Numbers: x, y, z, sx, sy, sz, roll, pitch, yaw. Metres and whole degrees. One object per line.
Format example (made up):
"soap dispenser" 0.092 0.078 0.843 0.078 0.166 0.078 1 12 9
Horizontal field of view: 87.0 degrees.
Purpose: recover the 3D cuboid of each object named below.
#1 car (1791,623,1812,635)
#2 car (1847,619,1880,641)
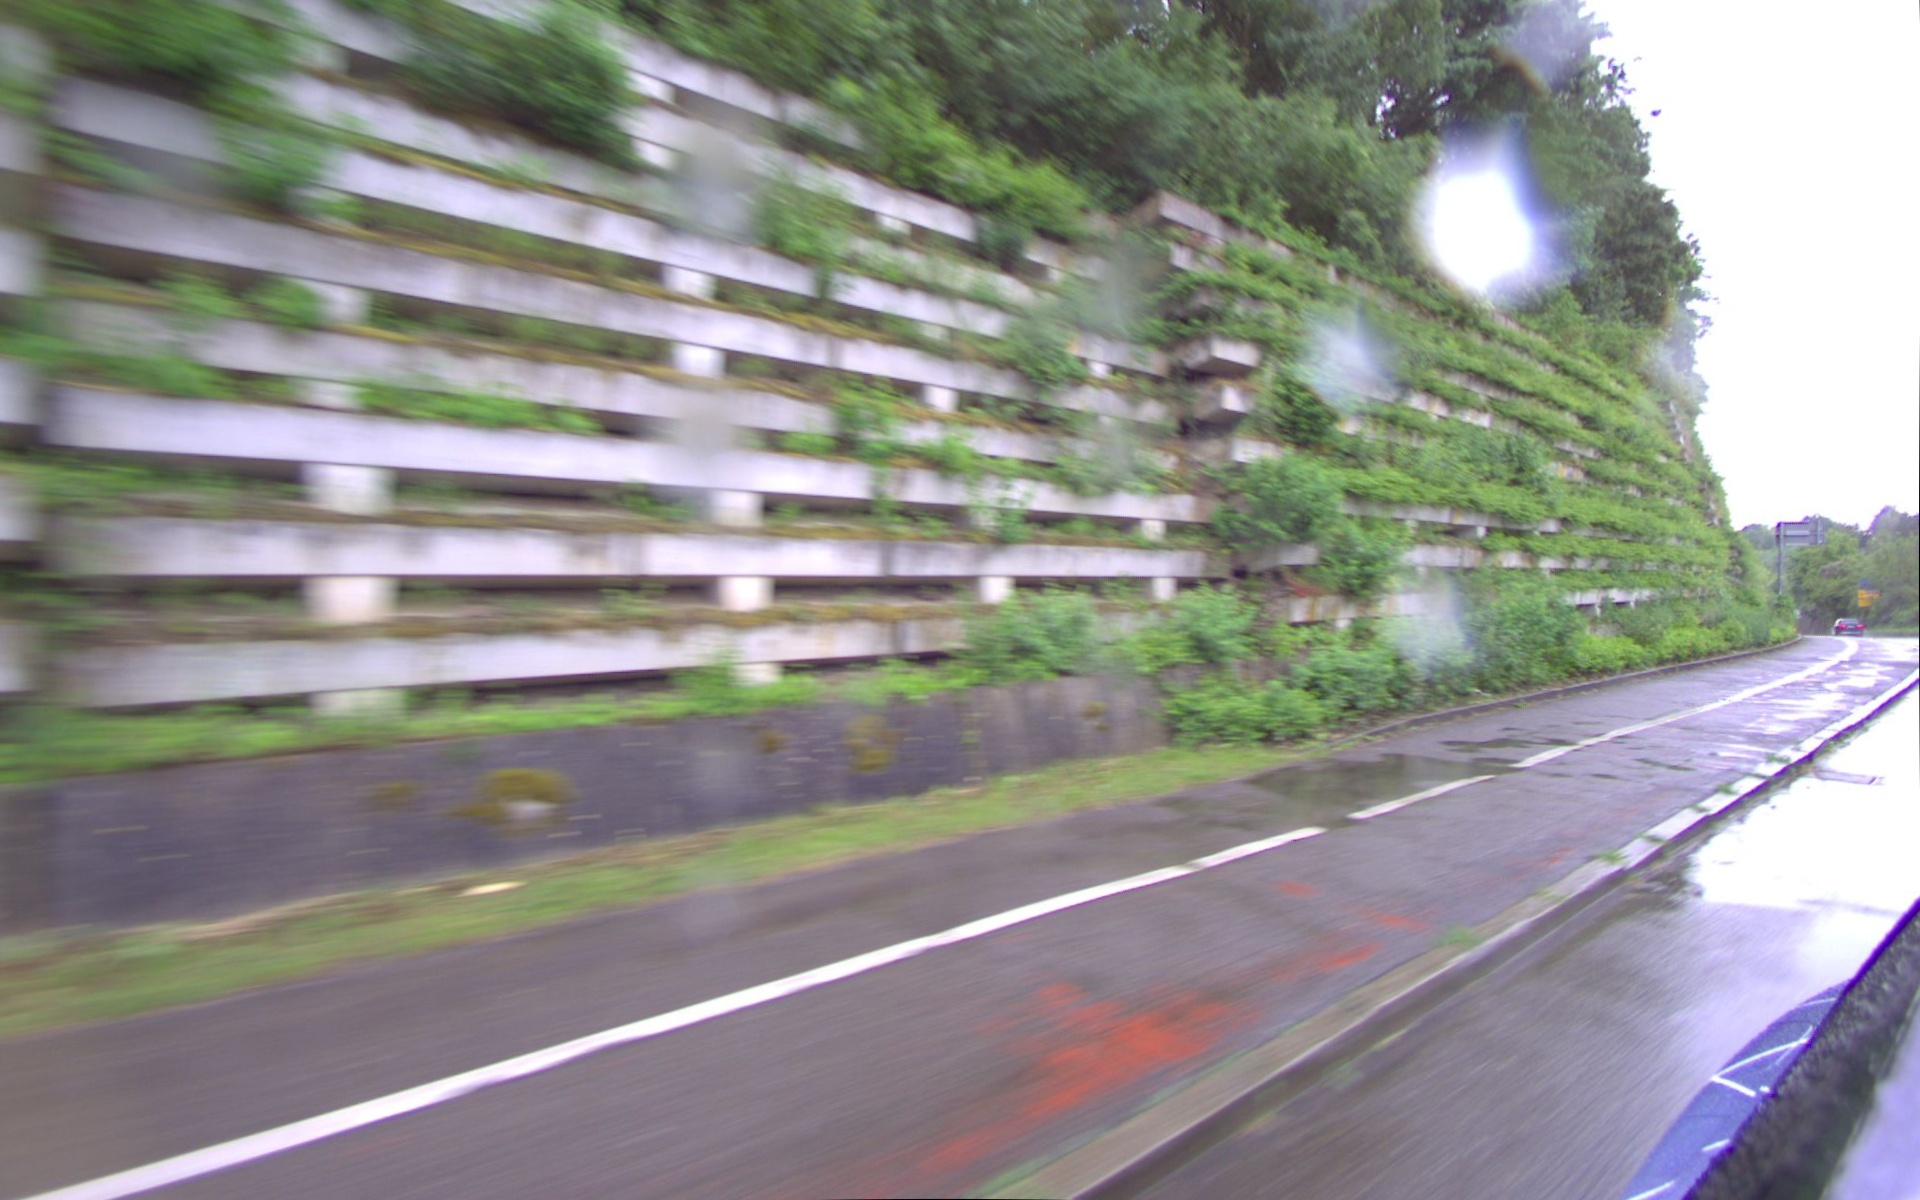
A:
"car" 109.216 3.801 131.341 1.788 1.427 3.949 -1 0 35
"car" 77.155 2.551 86.439 1.795 1.656 3.944 2 1 38
